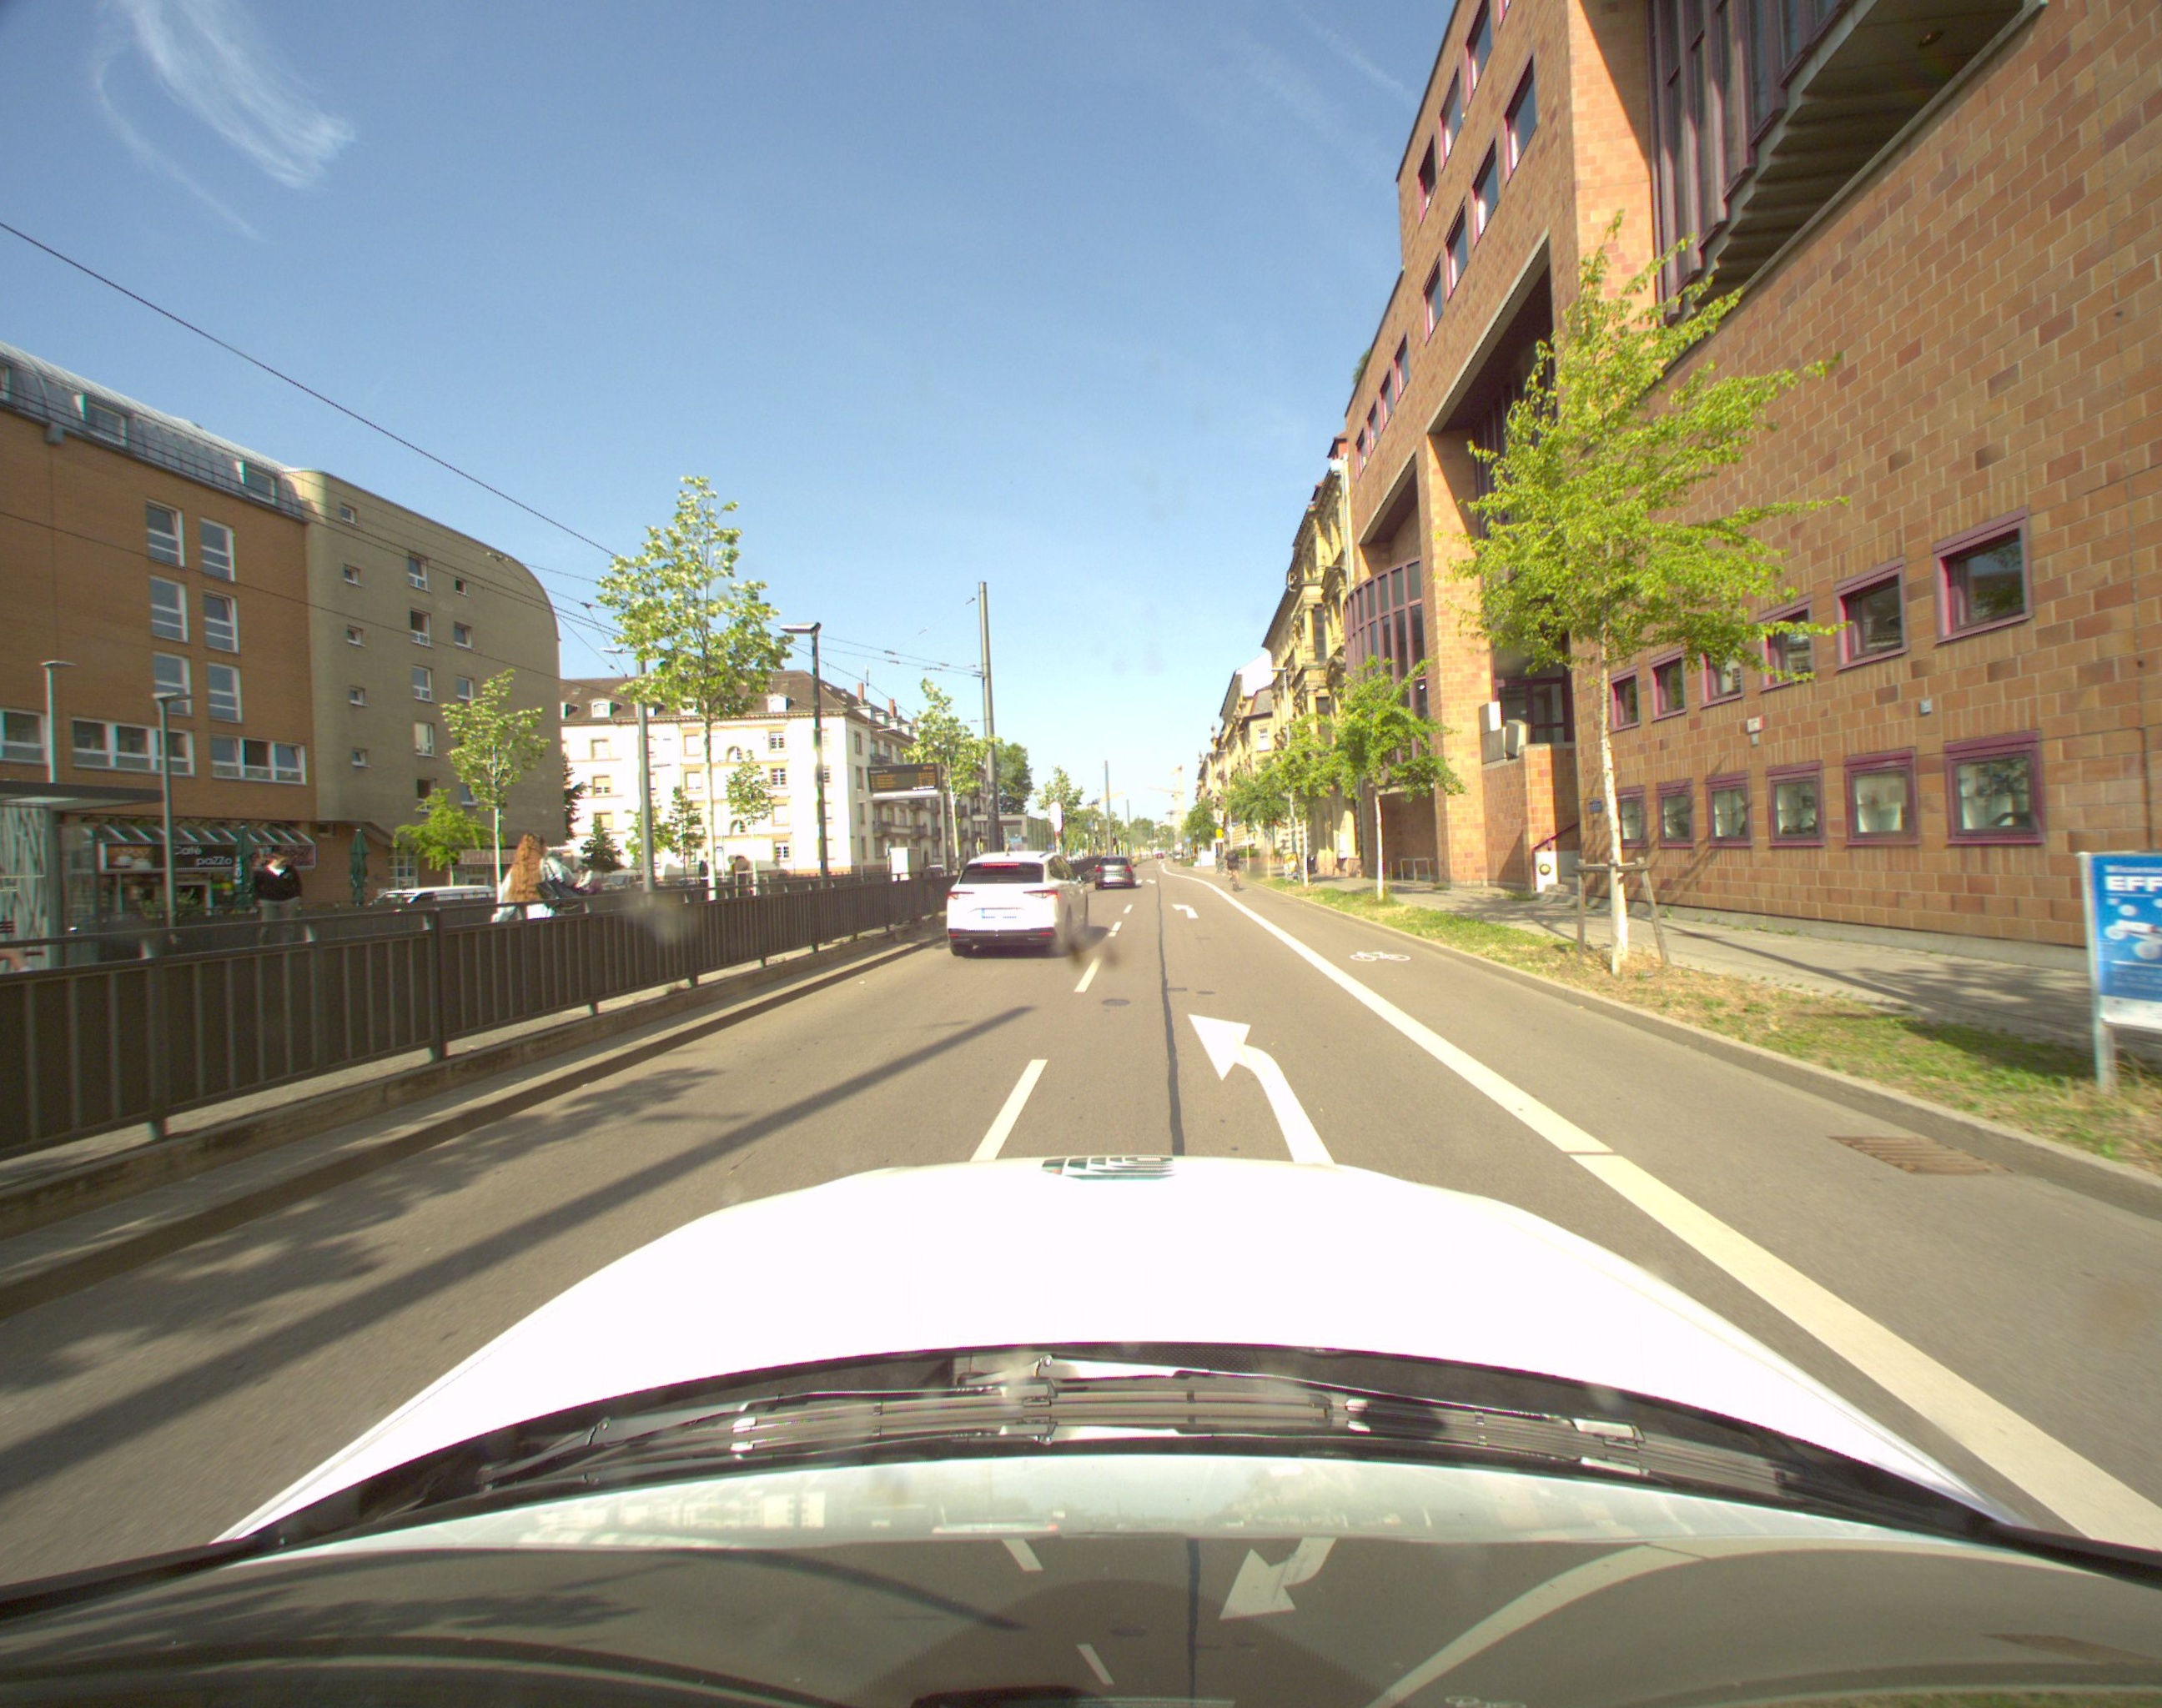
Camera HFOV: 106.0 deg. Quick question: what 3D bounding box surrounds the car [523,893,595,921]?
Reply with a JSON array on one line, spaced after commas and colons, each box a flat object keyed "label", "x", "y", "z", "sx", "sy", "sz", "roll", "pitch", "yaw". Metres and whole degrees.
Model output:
[{"label": "car", "x": -34.946, "y": 3.515, "z": 54.661, "sx": 1.985, "sy": 1.508, "sz": 4.004, "roll": -3, "pitch": 0, "yaw": 3}]

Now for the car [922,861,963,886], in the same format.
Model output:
[{"label": "car", "x": -11.705, "y": 1.625, "z": 69.033, "sx": 1.983, "sy": 1.805, "sz": 4.642, "roll": -4, "pitch": 0, "yaw": 7}]

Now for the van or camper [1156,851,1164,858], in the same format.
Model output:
[{"label": "van or camper", "x": 20.680, "y": 0.152, "z": 214.454, "sx": 1.984, "sy": 1.655, "sz": 4.006, "roll": -3, "pitch": 0, "yaw": 5}]

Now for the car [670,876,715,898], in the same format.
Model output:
[{"label": "car", "x": -31.535, "y": 2.631, "z": 66.254, "sx": 1.667, "sy": 1.532, "sz": 3.926, "roll": -3, "pitch": 0, "yaw": 0}]

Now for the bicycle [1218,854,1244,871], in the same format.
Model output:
[{"label": "bicycle", "x": 10.488, "y": 0.593, "z": 56.986, "sx": 1.742, "sy": 1.087, "sz": 0.584, "roll": -5, "pitch": 0, "yaw": 8}]

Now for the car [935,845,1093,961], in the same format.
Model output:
[{"label": "car", "x": -0.928, "y": 0.701, "z": 13.770, "sx": 1.808, "sy": 1.590, "sz": 4.414, "roll": -2, "pitch": 0, "yaw": 6}]

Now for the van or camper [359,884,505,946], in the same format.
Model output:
[{"label": "van or camper", "x": -24.965, "y": 2.298, "z": 31.538, "sx": 1.981, "sy": 2.013, "sz": 4.012, "roll": -3, "pitch": 0, "yaw": 10}]

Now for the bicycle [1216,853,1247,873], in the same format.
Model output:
[{"label": "bicycle", "x": 9.492, "y": 0.591, "z": 51.472, "sx": 1.752, "sy": 1.087, "sz": 0.610, "roll": -6, "pitch": -1, "yaw": -4}]

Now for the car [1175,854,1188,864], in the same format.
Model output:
[{"label": "car", "x": 16.935, "y": 0.876, "z": 137.780, "sx": 1.762, "sy": 1.588, "sz": 4.250, "roll": -4, "pitch": 0, "yaw": 2}]

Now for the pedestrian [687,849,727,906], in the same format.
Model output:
[{"label": "pedestrian", "x": -12.639, "y": 0.786, "z": 27.542, "sx": 0.735, "sy": 1.872, "sz": 0.942, "roll": -3, "pitch": 0, "yaw": 8}]

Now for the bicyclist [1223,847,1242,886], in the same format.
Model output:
[{"label": "bicyclist", "x": 5.839, "y": 0.506, "z": 31.401, "sx": 0.581, "sy": 1.482, "sz": 0.932, "roll": 0, "pitch": -2, "yaw": 3}]

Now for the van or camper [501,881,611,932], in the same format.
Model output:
[{"label": "van or camper", "x": -23.889, "y": 2.329, "z": 37.221, "sx": 1.918, "sy": 1.968, "sz": 4.011, "roll": -3, "pitch": 0, "yaw": 10}]

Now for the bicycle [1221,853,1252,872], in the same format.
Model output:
[{"label": "bicycle", "x": 10.106, "y": 0.556, "z": 52.993, "sx": 1.752, "sy": 1.087, "sz": 0.657, "roll": -6, "pitch": -1, "yaw": -4}]

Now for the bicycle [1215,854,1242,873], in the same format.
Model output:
[{"label": "bicycle", "x": 10.111, "y": 0.642, "z": 55.757, "sx": 1.744, "sy": 1.087, "sz": 0.670, "roll": -5, "pitch": 0, "yaw": 11}]

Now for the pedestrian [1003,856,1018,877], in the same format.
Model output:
[{"label": "pedestrian", "x": -6.438, "y": 1.170, "z": 74.336, "sx": 1.072, "sy": 1.867, "sz": 0.858, "roll": -2, "pitch": -1, "yaw": -22}]

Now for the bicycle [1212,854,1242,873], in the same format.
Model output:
[{"label": "bicycle", "x": 9.762, "y": 0.614, "z": 54.334, "sx": 1.760, "sy": 1.087, "sz": 0.668, "roll": -6, "pitch": -1, "yaw": -18}]

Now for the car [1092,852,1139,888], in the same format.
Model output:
[{"label": "car", "x": 1.611, "y": 0.673, "z": 36.329, "sx": 1.745, "sy": 1.484, "sz": 4.414, "roll": -2, "pitch": 0, "yaw": 6}]

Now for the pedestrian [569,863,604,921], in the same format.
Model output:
[{"label": "pedestrian", "x": -13.572, "y": 1.034, "z": 22.371, "sx": 0.679, "sy": 1.530, "sz": 0.805, "roll": -3, "pitch": -1, "yaw": -25}]

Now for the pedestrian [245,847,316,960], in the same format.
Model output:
[{"label": "pedestrian", "x": -13.924, "y": 0.839, "z": 14.187, "sx": 0.812, "sy": 1.886, "sz": 0.548, "roll": -2, "pitch": -1, "yaw": -42}]

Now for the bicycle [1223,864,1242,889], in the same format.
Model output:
[{"label": "bicycle", "x": 5.852, "y": 0.863, "z": 31.497, "sx": 0.503, "sy": 0.953, "sz": 1.786, "roll": 0, "pitch": -2, "yaw": 3}]

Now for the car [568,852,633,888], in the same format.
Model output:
[{"label": "car", "x": -36.767, "y": 1.167, "z": 62.472, "sx": 1.988, "sy": 2.583, "sz": 5.051, "roll": -3, "pitch": 0, "yaw": -1}]

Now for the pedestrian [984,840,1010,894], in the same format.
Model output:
[{"label": "pedestrian", "x": -3.194, "y": 0.502, "z": 30.911, "sx": 0.829, "sy": 2.014, "sz": 1.029, "roll": 0, "pitch": -1, "yaw": 2}]

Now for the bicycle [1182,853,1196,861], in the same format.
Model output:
[{"label": "bicycle", "x": 15.174, "y": 0.414, "z": 114.891, "sx": 1.801, "sy": 1.096, "sz": 0.671, "roll": -4, "pitch": 0, "yaw": 0}]

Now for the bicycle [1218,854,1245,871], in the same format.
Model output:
[{"label": "bicycle", "x": 10.629, "y": 0.597, "z": 57.577, "sx": 1.742, "sy": 1.087, "sz": 0.584, "roll": -5, "pitch": 0, "yaw": 8}]

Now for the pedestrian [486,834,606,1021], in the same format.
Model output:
[{"label": "pedestrian", "x": -5.256, "y": 0.691, "z": 8.035, "sx": 0.670, "sy": 1.757, "sz": 0.728, "roll": 0, "pitch": -1, "yaw": 5}]

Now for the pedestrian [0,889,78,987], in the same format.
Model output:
[{"label": "pedestrian", "x": -14.644, "y": 1.155, "z": 11.078, "sx": 1.148, "sy": 1.245, "sz": 0.676, "roll": -4, "pitch": 0, "yaw": 4}]
